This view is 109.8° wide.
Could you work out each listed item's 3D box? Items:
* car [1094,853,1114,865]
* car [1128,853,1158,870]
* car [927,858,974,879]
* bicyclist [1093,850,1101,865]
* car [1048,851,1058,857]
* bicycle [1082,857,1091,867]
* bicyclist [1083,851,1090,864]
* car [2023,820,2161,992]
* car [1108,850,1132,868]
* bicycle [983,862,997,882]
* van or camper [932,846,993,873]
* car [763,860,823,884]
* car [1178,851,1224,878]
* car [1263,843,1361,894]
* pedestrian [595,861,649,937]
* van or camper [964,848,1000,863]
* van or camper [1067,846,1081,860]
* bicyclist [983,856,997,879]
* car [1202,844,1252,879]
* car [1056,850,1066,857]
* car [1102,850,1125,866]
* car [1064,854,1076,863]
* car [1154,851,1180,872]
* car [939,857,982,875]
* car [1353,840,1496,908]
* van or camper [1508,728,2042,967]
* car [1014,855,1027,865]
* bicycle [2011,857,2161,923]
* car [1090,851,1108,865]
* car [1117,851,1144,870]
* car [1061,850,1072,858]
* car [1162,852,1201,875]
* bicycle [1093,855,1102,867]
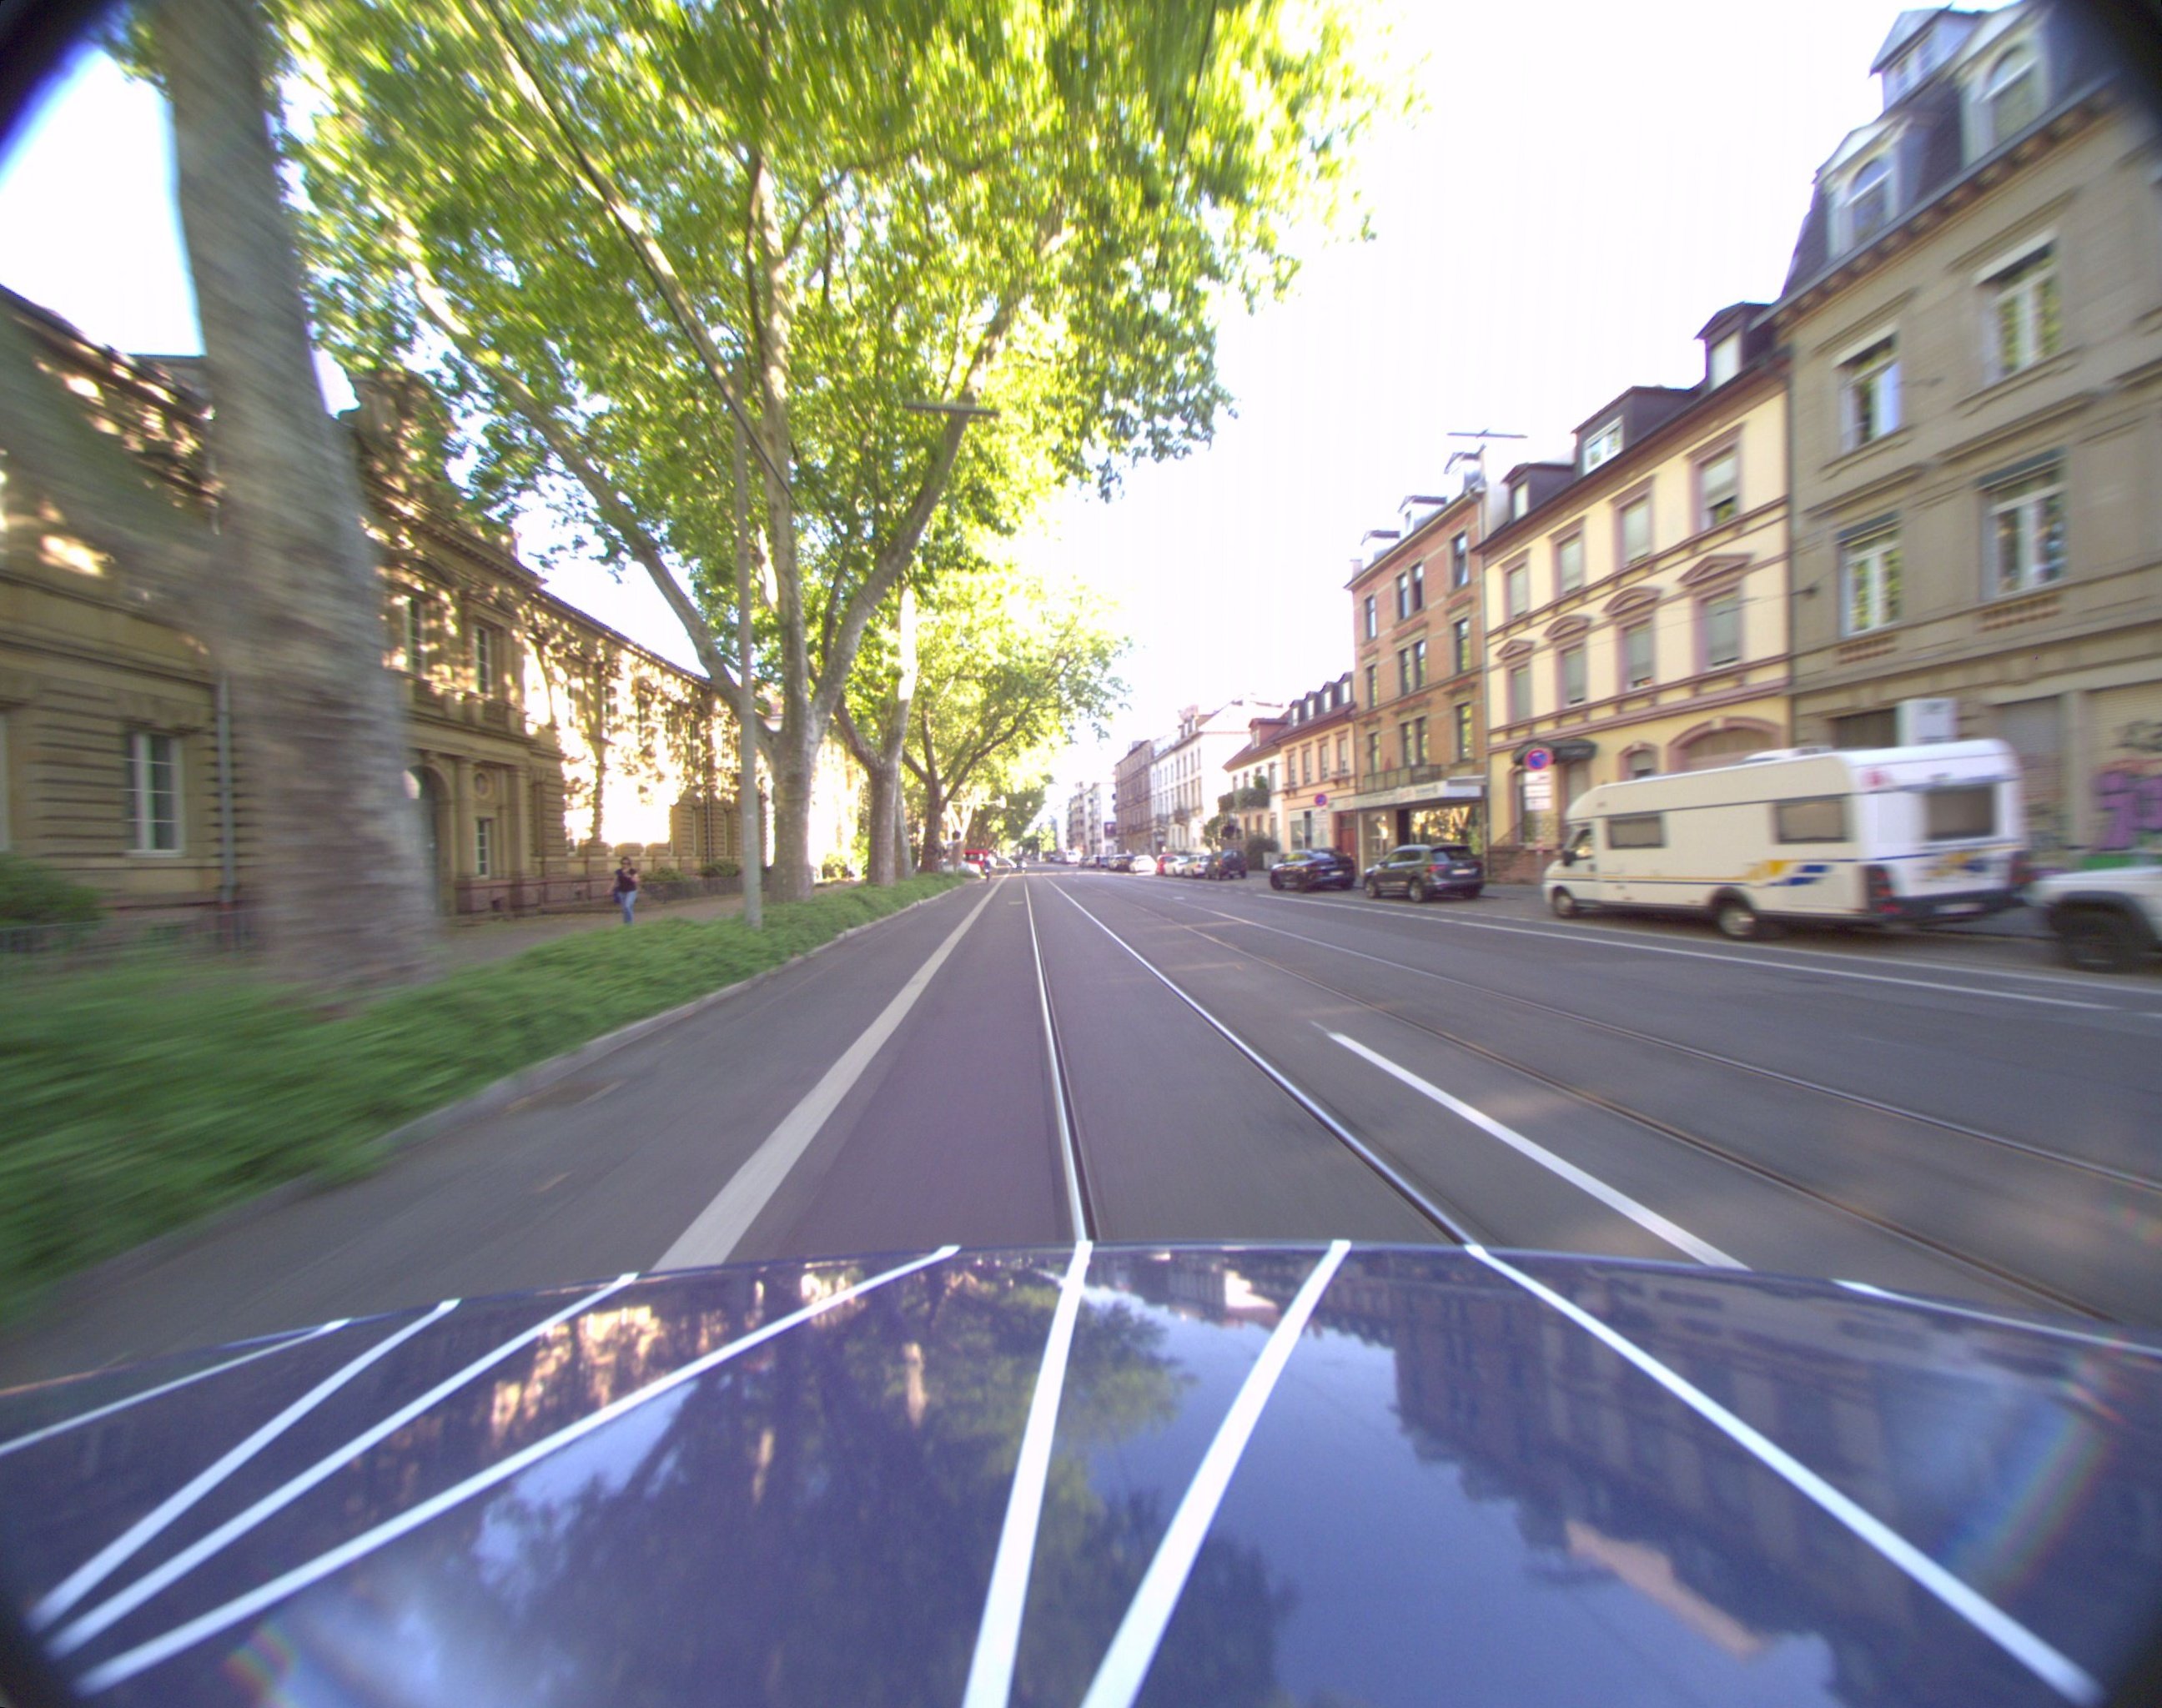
[{"bbox_3d":[2.798,0.567,93.392,1.799,1.368,4.081,-4,0,-5],"label":"car"},{"bbox_3d":[5.540,0.640,68.089,1.869,1.423,4.081,-4,0,-5],"label":"car"},{"bbox_3d":[-10.759,1.151,62.913,3.678,1.535,1.613,-2,3,-5],"label":"car"},{"bbox_3d":[1.616,0.314,77.660,0.715,1.508,0.953,-2,1,-5],"label":"bicyclist"},{"bbox_3d":[-6.842,-0.012,186.042,1.809,1.534,3.916,-4,0,-7],"label":"car"},{"bbox_3d":[0.626,0.874,87.061,0.715,1.131,2.119,-2,0,-5],"label":"bicycle"},{"bbox_3d":[0.604,0.425,87.081,0.715,1.508,0.953,-2,1,-5],"label":"bicyclist"},{"bbox_3d":[12.017,0.515,7.266,1.635,1.696,3.368,-5,1,-8],"label":"car"},{"bbox_3d":[4.033,0.495,78.445,1.799,1.630,4.252,-4,0,-5],"label":"car"},{"bbox_3d":[-5.665,1.107,47.411,0.715,1.131,2.119,-2,0,-5],"label":"bicycle"},{"bbox_3d":[-11.924,0.527,77.010,5.931,2.484,2.218,-2,3,-7],"label":"van or camper"},{"bbox_3d":[-20.392,1.261,53.837,3.573,1.535,1.735,-2,3,-5],"label":"car"},{"bbox_3d":[7.368,0.605,46.998,1.668,1.446,4.402,-4,1,-6],"label":"car"},{"bbox_3d":[9.189,0.537,30.697,1.999,1.693,4.747,-5,1,-6],"label":"car"},{"bbox_3d":[-10.909,1.046,18.087,0.652,1.726,1.007,-2,1,-5],"label":"pedestrian"},{"bbox_3d":[-17.810,0.285,136.863,6.102,2.417,2.427,-2,1,-5],"label":"van or camper"},{"bbox_3d":[-1.238,-0.218,133.712,1.946,2.267,4.595,-4,1,-6],"label":"van or camper"},{"bbox_3d":[-5.669,0.824,47.374,0.715,1.435,0.953,-2,1,-3],"label":"bicyclist"},{"bbox_3d":[8.144,0.385,42.739,1.729,1.736,3.624,-5,1,-5],"label":"car"},{"bbox_3d":[-4.525,-0.068,170.270,1.809,1.534,3.916,-4,0,-7],"label":"car"},{"bbox_3d":[3.601,0.464,84.662,1.799,1.630,4.573,-4,0,-5],"label":"car"},{"bbox_3d":[-2.026,0.797,140.226,1.809,1.534,3.916,-4,0,-6],"label":"car"},{"bbox_3d":[6.516,0.532,57.884,1.422,1.502,3.324,-4,1,-3],"label":"car"},{"bbox_3d":[-10.729,1.059,68.018,3.678,1.411,1.613,-2,3,-5],"label":"car"},{"bbox_3d":[10.197,0.553,22.974,1.816,1.695,4.440,-5,1,-6],"label":"car"},{"bbox_3d":[11.192,-0.106,13.602,2.426,2.930,7.247,-5,1,-4],"label":"van or camper"},{"bbox_3d":[-9.031,0.874,113.507,1.740,1.365,3.916,-4,0,-6],"label":"car"},{"bbox_3d":[15.561,0.514,11.552,0.580,0.919,1.791,-2,0,-3],"label":"bicycle"},{"bbox_3d":[2.274,0.493,98.762,1.799,1.617,4.081,-4,0,-5],"label":"car"},{"bbox_3d":[4.732,0.601,73.176,1.799,1.587,4.081,-4,0,-5],"label":"car"},{"bbox_3d":[-2.961,-0.050,158.149,1.809,1.534,3.916,-4,0,-6],"label":"car"},{"bbox_3d":[6.889,0.624,52.489,1.587,1.482,4.468,-4,0,-6],"label":"car"},{"bbox_3d":[1.649,0.720,77.773,0.715,1.131,2.119,-2,0,-5],"label":"bicycle"}]
